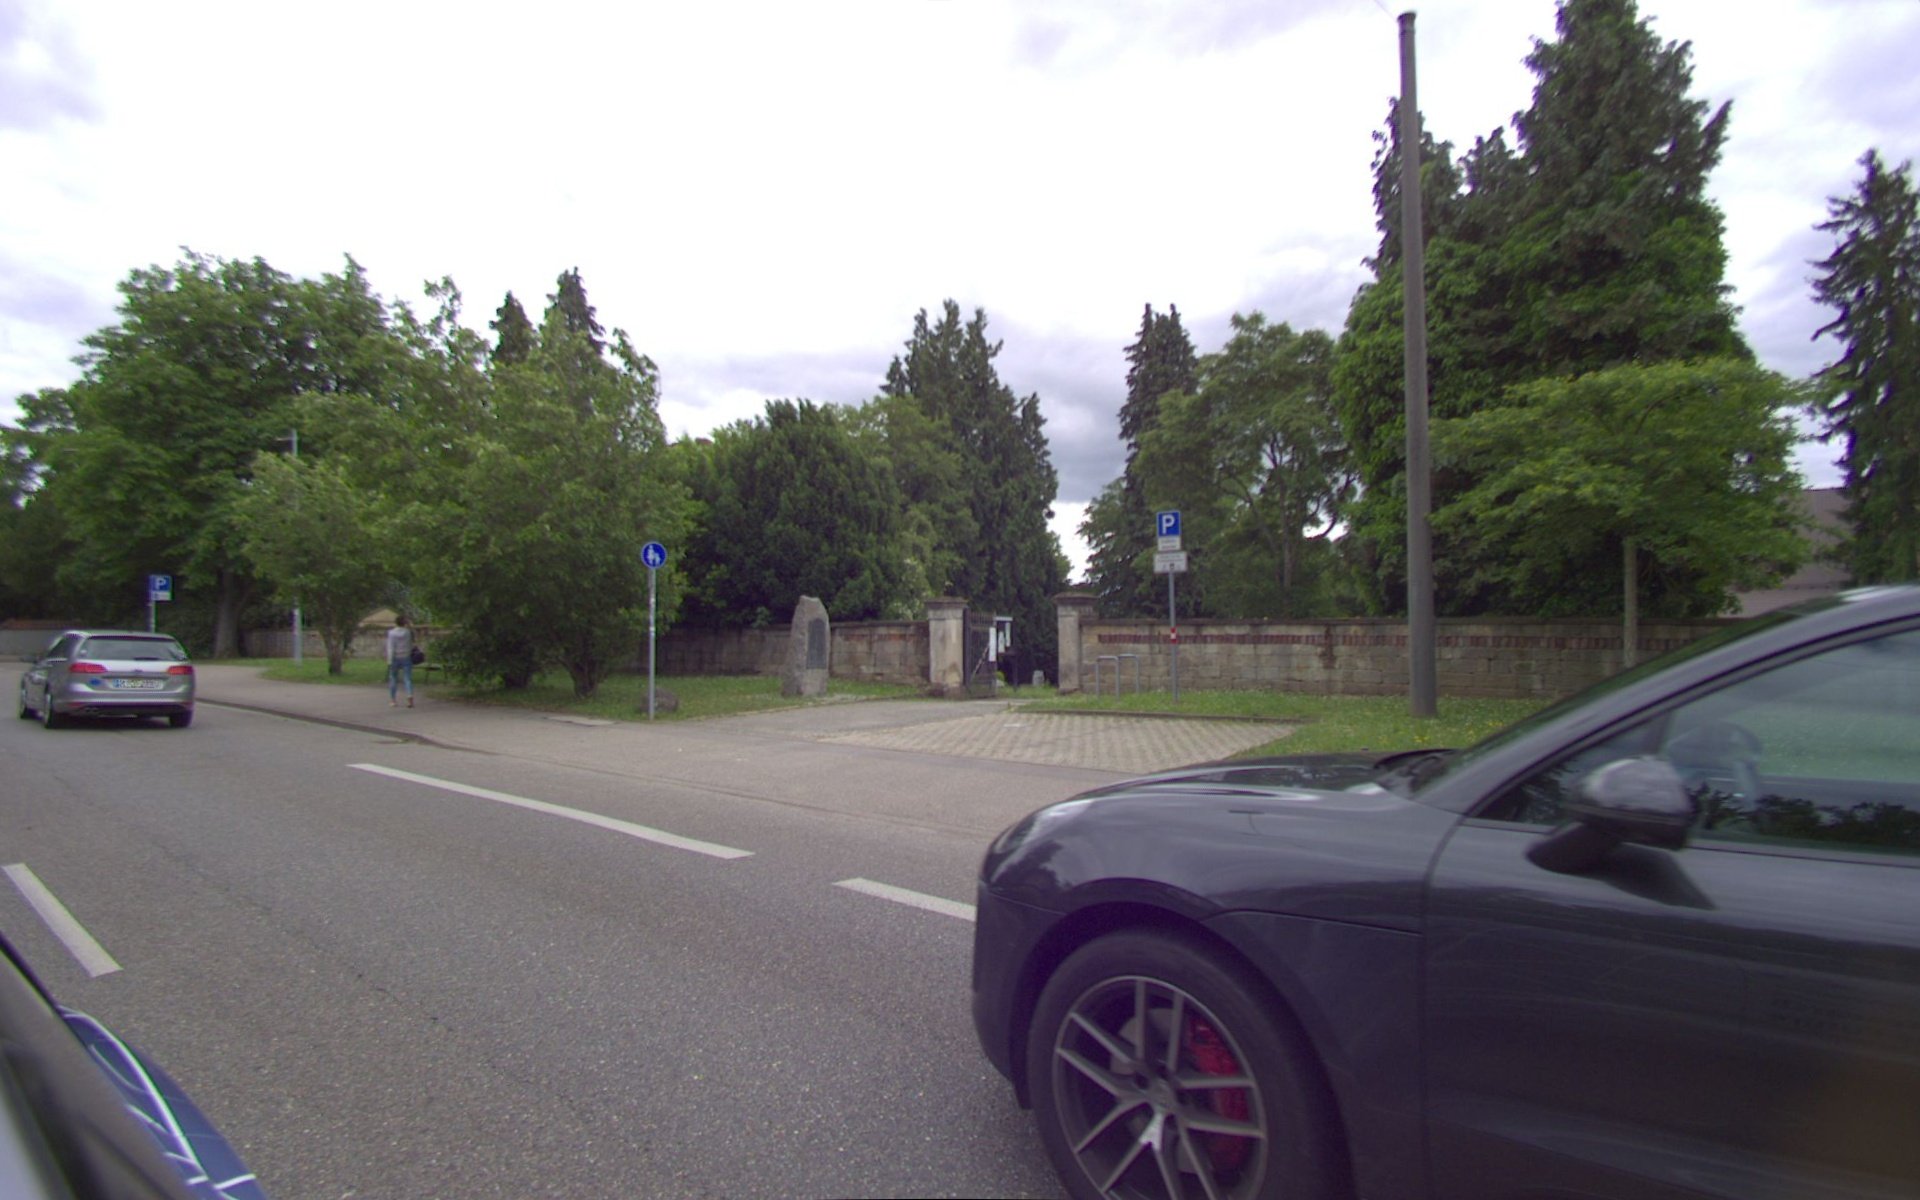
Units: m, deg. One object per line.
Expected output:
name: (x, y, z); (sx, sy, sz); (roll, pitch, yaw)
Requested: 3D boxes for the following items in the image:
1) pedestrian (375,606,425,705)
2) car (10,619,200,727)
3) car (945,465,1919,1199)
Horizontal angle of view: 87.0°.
pedestrian: (-10.623, 1.031, 19.193); (0.784, 1.825, 0.607); (-1, -1, 40)
car: (-13.451, 1.072, 15.843); (4.153, 1.474, 1.707); (-2, -3, 42)
car: (2.300, 0.624, 1.859); (4.524, 1.543, 1.919); (-2, -5, 41)
